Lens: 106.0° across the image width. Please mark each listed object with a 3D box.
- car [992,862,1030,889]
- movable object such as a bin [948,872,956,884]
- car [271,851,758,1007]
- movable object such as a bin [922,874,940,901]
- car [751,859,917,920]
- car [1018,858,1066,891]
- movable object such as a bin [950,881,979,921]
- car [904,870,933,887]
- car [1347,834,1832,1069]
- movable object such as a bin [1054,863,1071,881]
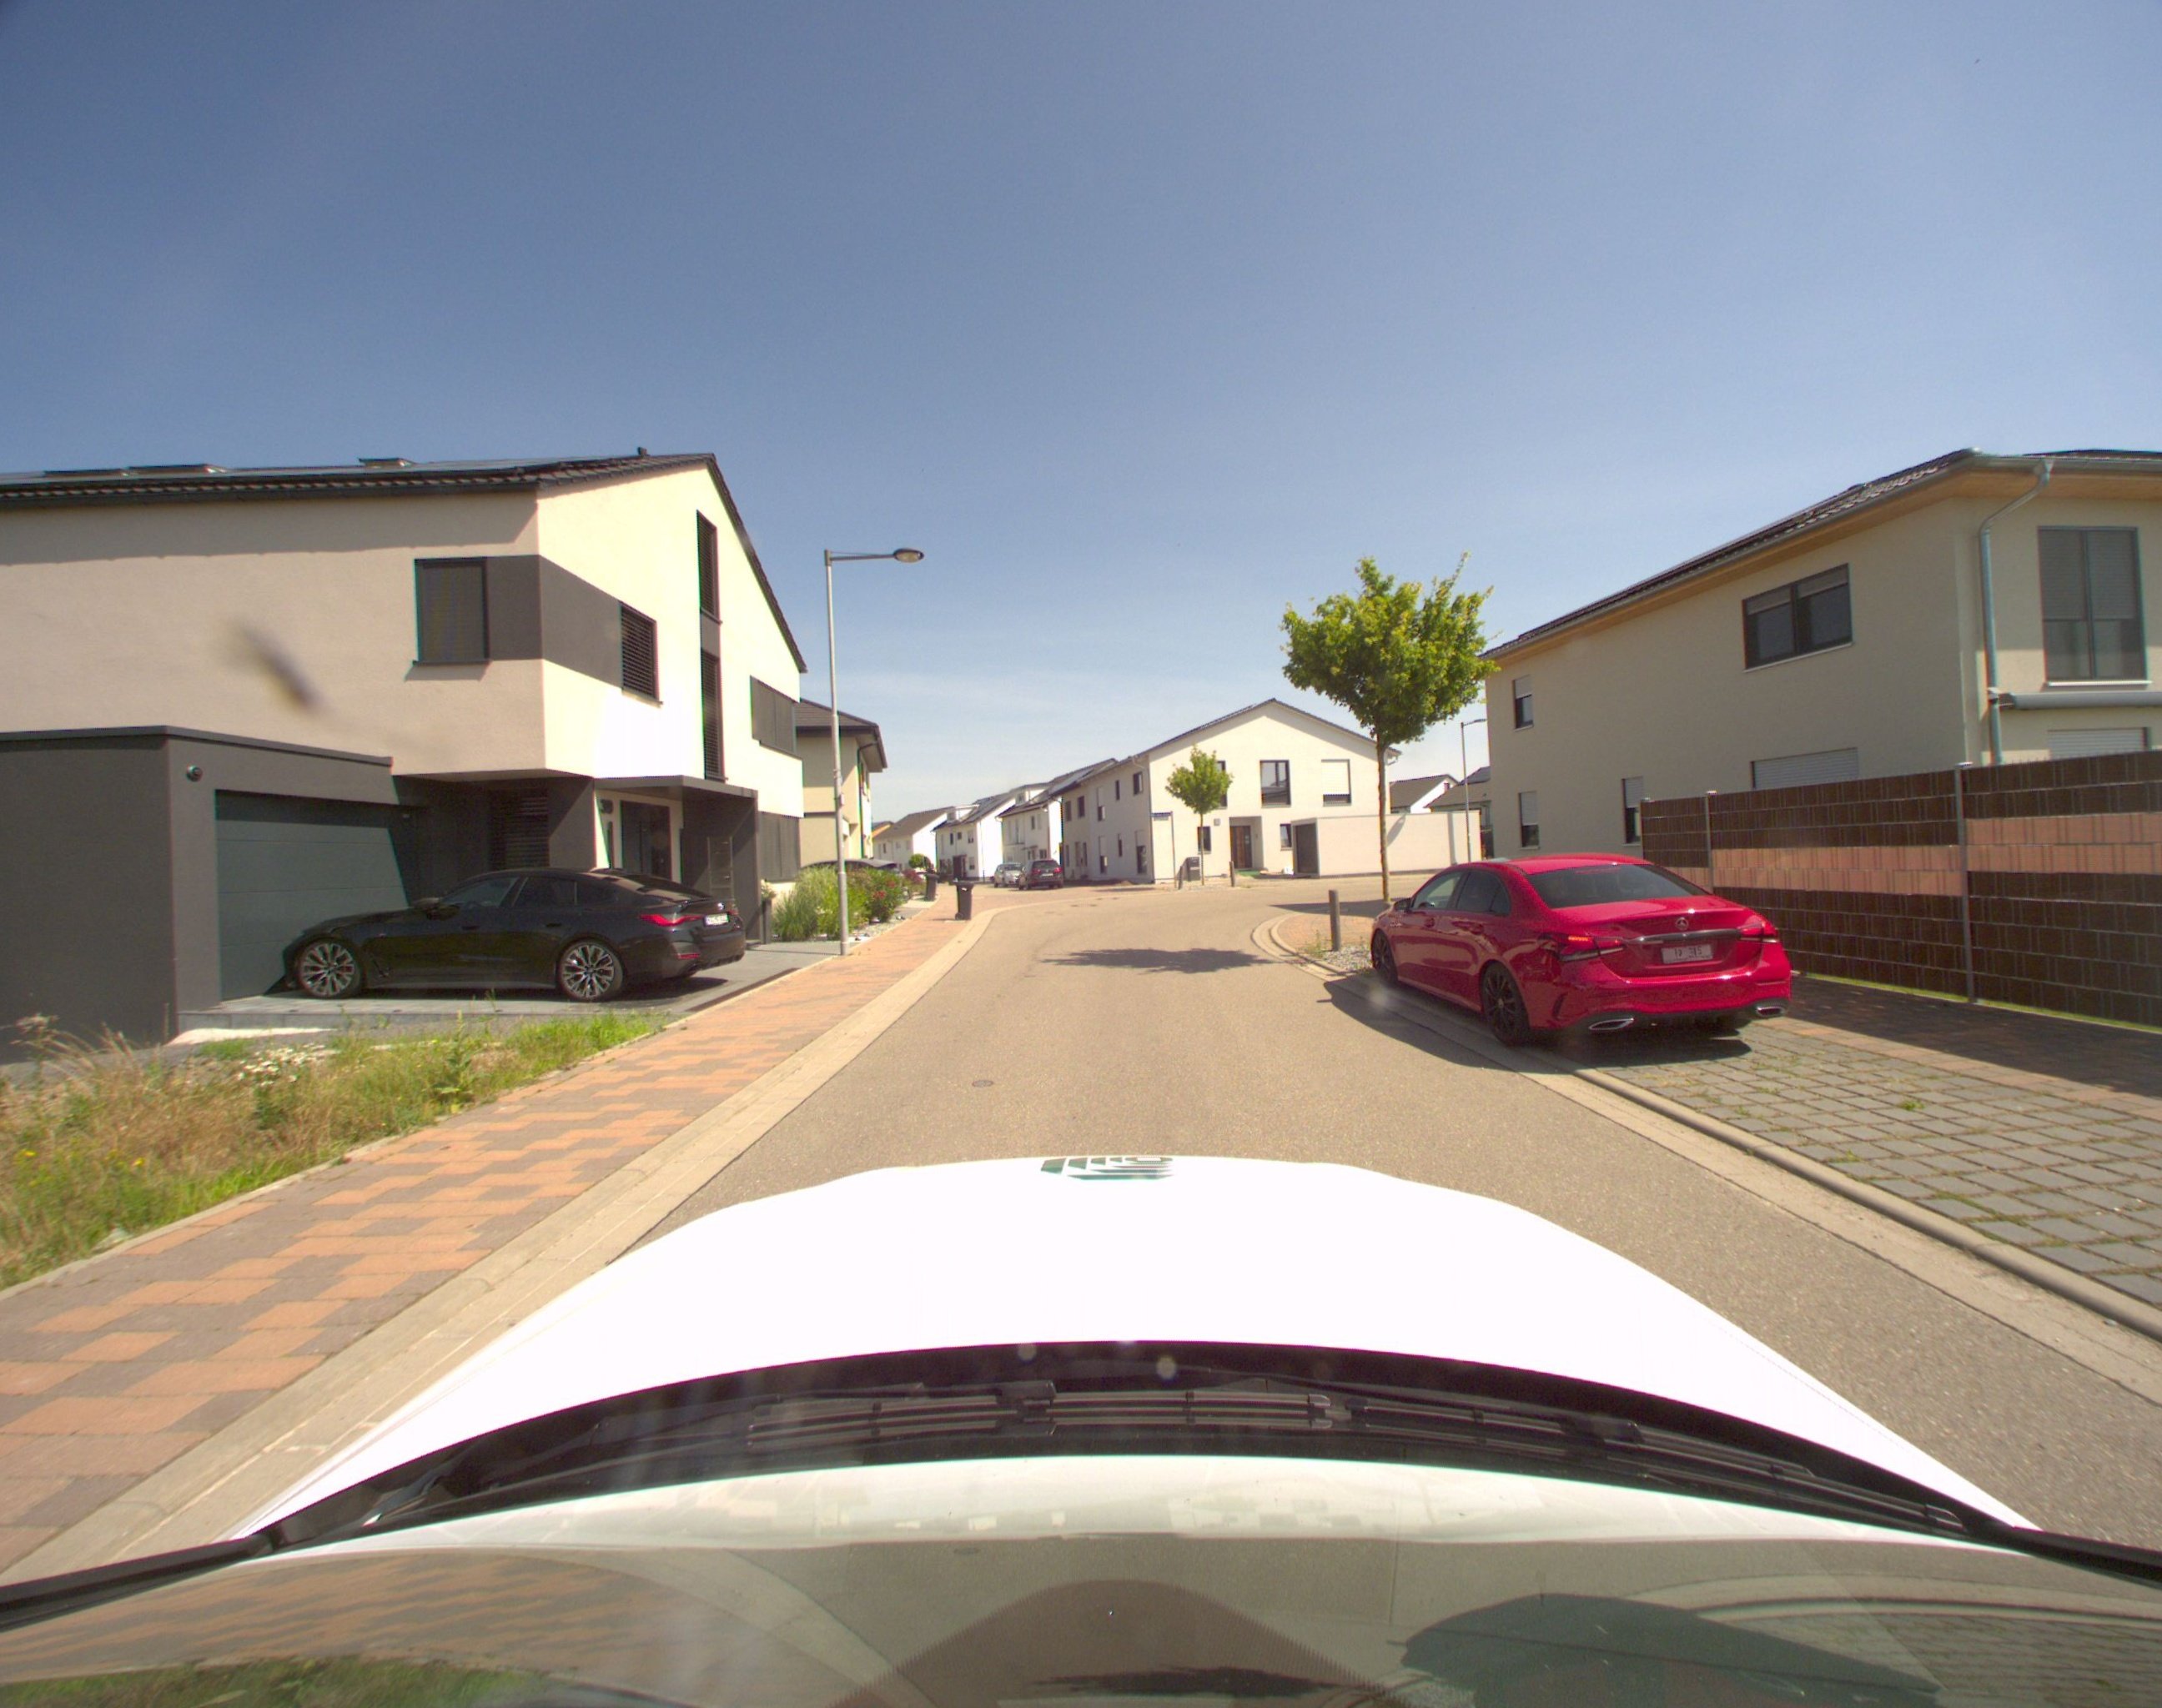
[{"bbox_3d":[-4.243,1.281,49.073,1.679,1.464,3.926,-3,0,-13],"label":"car"},{"bbox_3d":[-10.837,2.008,68.343,0.558,0.949,0.245,-3,-1,-18],"label":"movable object such as a bin"},{"bbox_3d":[-6.278,0.791,9.405,4.360,1.631,1.771,0,-1,0],"label":"car"},{"bbox_3d":[-5.196,1.170,28.213,0.614,0.927,0.422,0,-2,-10],"label":"movable object such as a bin"},{"bbox_3d":[-6.763,0.950,22.571,3.971,1.486,1.755,-2,0,2],"label":"car"},{"bbox_3d":[-1.929,0.992,39.484,1.727,1.423,3.985,-3,0,-10],"label":"car"},{"bbox_3d":[-2.806,1.120,19.625,0.531,0.936,0.527,-1,-1,10],"label":"movable object such as a bin"},{"bbox_3d":[-16.431,2.497,82.136,1.790,1.596,3.964,-3,-1,-27],"label":"car"},{"bbox_3d":[4.101,0.663,7.651,1.756,1.438,4.521,-4,-1,2],"label":"car"},{"bbox_3d":[-1.154,1.093,49.501,0.786,1.050,0.800,-5,0,-16],"label":"movable object such as a bin"}]
